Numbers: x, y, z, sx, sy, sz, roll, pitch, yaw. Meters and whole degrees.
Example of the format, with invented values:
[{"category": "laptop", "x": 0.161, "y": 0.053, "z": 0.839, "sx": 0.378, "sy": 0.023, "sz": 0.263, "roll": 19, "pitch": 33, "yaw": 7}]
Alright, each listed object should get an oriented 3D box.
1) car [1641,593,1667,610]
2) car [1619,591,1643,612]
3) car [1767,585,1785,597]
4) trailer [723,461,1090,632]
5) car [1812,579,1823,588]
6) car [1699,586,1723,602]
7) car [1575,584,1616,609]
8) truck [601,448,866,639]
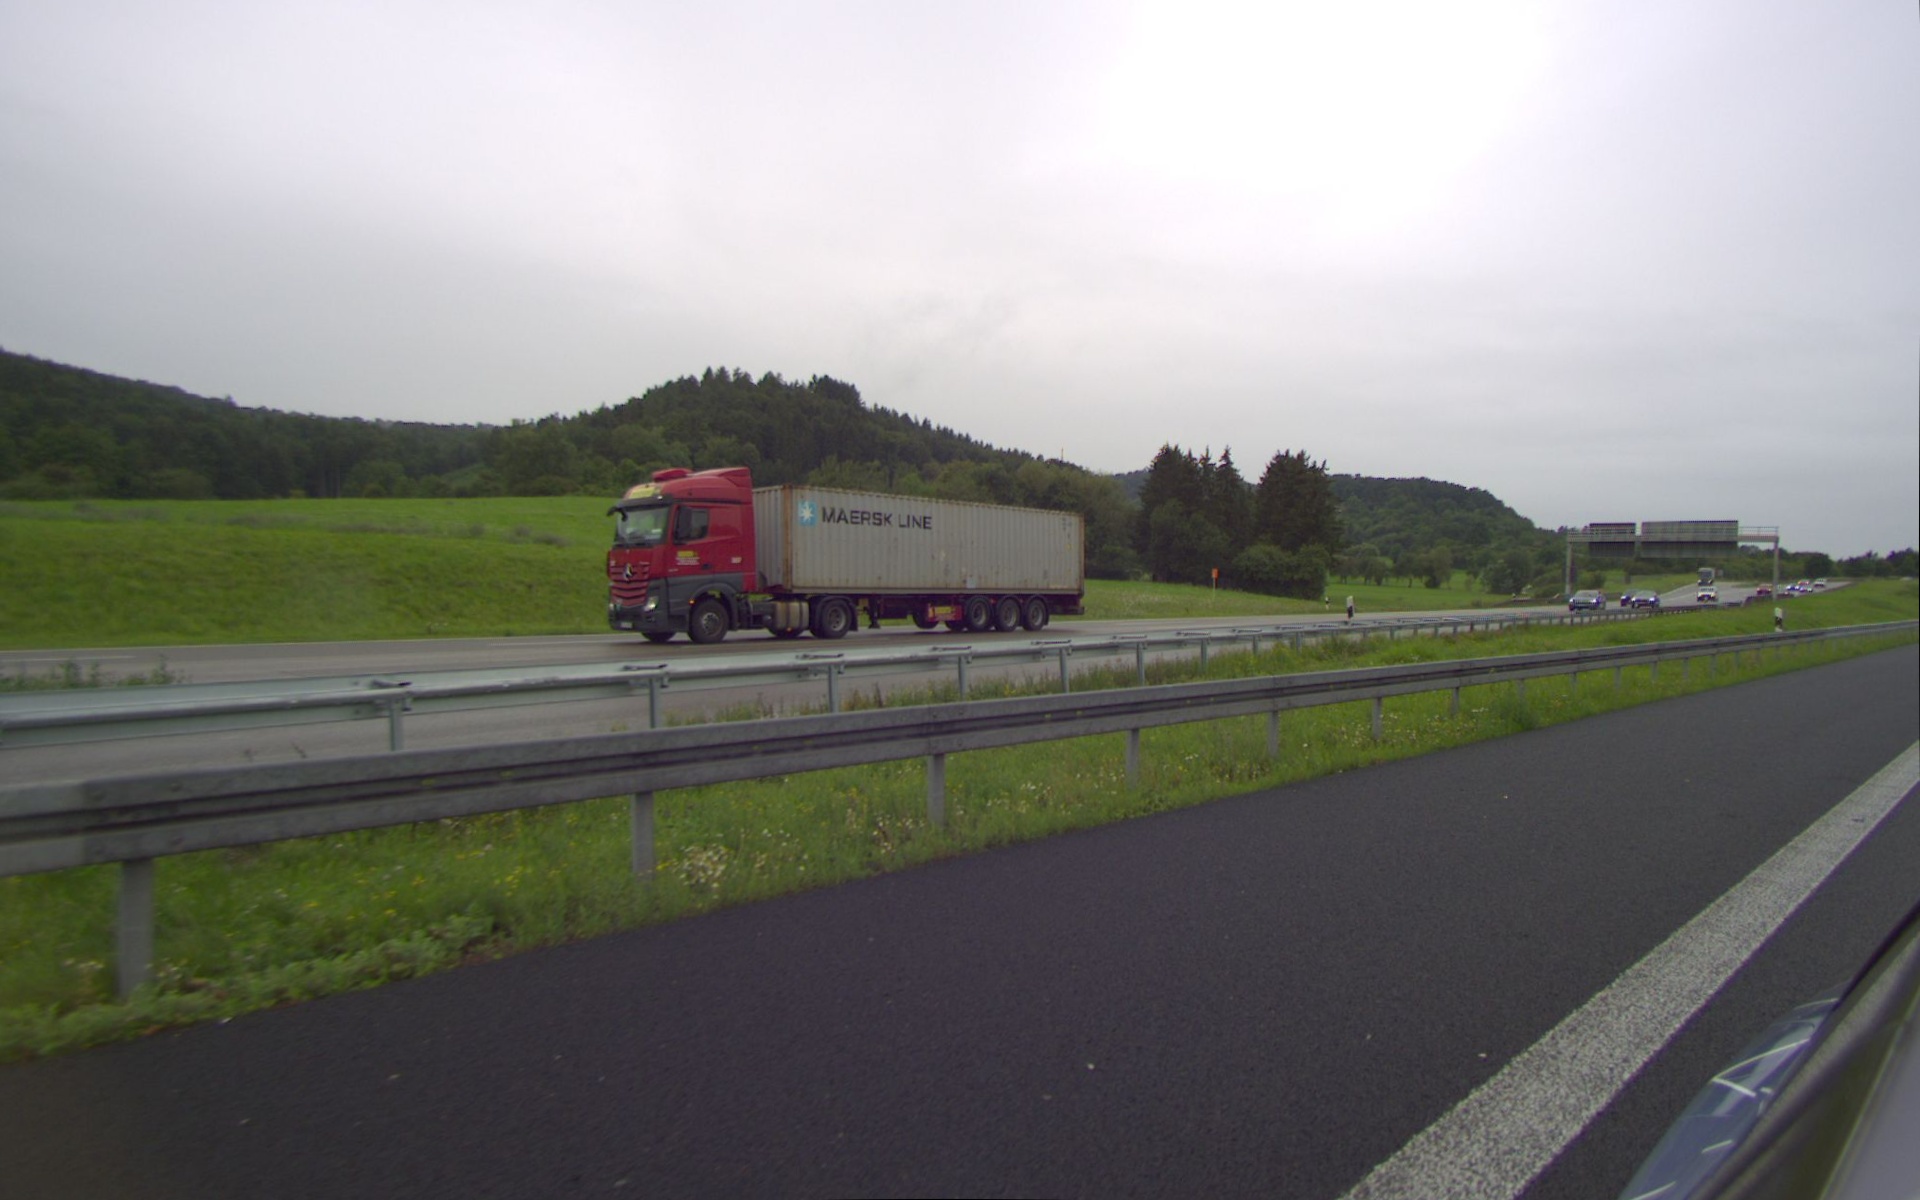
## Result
[{"category": "car", "x": 64.253, "y": 0.098, "z": 93.627, "sx": 1.743, "sy": 1.527, "sz": 3.945, "roll": 0, "pitch": 0, "yaw": 38}, {"category": "car", "x": 68.901, "y": 0.120, "z": 103.931, "sx": 1.646, "sy": 2.039, "sz": 3.944, "roll": 1, "pitch": 1, "yaw": 39}, {"category": "car", "x": 139.965, "y": -1.564, "z": 173.547, "sx": 3.931, "sy": 2.039, "sz": 1.732, "roll": 0, "pitch": 0, "yaw": -42}, {"category": "trailer", "x": -0.888, "y": -1.288, "z": 29.112, "sx": 2.490, "sy": 4.034, "sz": 12.211, "roll": -1, "pitch": 0, "yaw": 43}, {"category": "car", "x": 164.963, "y": -3.204, "z": 194.658, "sx": 1.577, "sy": 1.571, "sz": 3.943, "roll": -1, "pitch": 0, "yaw": 39}, {"category": "car", "x": 97.265, "y": -0.802, "z": 131.029, "sx": 1.994, "sy": 2.039, "sz": 3.936, "roll": 2, "pitch": 1, "yaw": 44}, {"category": "car", "x": 48.097, "y": -0.283, "z": 76.533, "sx": 1.992, "sy": 1.742, "sz": 4.254, "roll": 2, "pitch": 1, "yaw": 41}, {"category": "truck", "x": -5.287, "y": -1.201, "z": 24.364, "sx": 2.508, "sy": 4.037, "sz": 5.834, "roll": -1, "pitch": 0, "yaw": 44}]
